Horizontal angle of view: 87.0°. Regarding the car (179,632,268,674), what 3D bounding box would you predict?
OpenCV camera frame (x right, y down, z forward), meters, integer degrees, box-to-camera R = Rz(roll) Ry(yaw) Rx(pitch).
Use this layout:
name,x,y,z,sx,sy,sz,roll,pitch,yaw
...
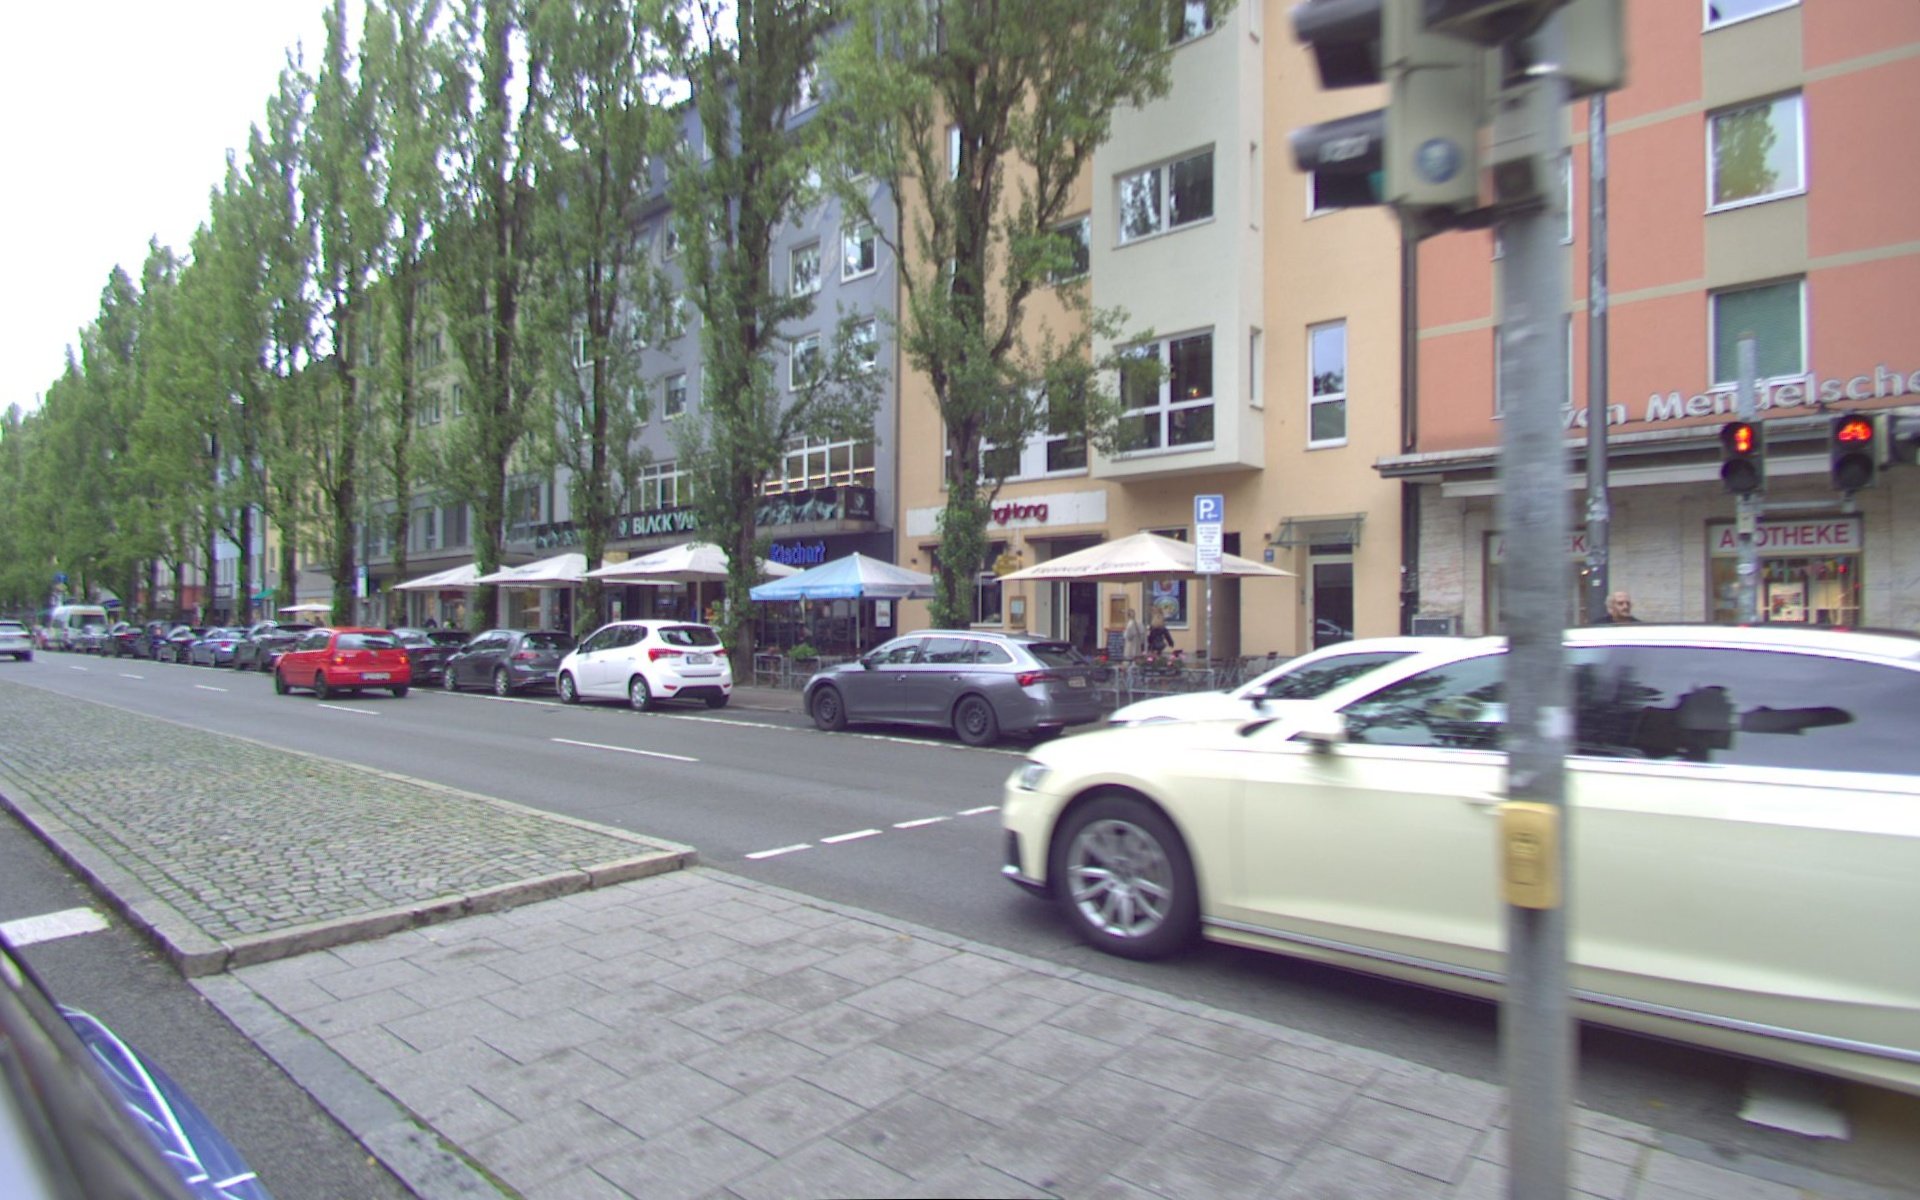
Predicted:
name,x,y,z,sx,sy,sz,roll,pitch,yaw
car,-26.977,1.899,37.040,4.398,1.428,1.640,-1,-3,41

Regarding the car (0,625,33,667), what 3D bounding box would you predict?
name,x,y,z,sx,sy,sz,roll,pitch,yaw
car,-39.567,1.879,41.477,4.573,1.648,1.824,-2,-3,41

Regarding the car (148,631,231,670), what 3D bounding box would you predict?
name,x,y,z,sx,sy,sz,roll,pitch,yaw
car,-30.767,1.962,40.355,4.583,1.457,1.685,-1,-2,41

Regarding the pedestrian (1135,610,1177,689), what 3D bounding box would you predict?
name,x,y,z,sx,sy,sz,roll,pitch,yaw
pedestrian,4.192,1.051,21.625,0.691,1.651,0.549,-2,-2,40

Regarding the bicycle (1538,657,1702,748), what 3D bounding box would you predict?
name,x,y,z,sx,sy,sz,roll,pitch,yaw
bicycle,8.175,1.239,12.633,0.324,0.993,1.817,0,-2,-24

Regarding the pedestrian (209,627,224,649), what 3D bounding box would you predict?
name,x,y,z,sx,sy,sz,roll,pitch,yaw
pedestrian,-48.647,2.494,66.187,0.550,1.449,0.641,-1,-2,36

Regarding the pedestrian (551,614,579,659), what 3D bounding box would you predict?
name,x,y,z,sx,sy,sz,roll,pitch,yaw
pedestrian,-14.852,1.363,38.064,0.756,1.653,0.732,-2,-2,42

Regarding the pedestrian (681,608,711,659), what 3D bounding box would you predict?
name,x,y,z,sx,sy,sz,roll,pitch,yaw
pedestrian,-9.276,1.176,35.521,0.755,1.768,0.733,-2,-2,41

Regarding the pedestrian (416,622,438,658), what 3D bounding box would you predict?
name,x,y,z,sx,sy,sz,roll,pitch,yaw
pedestrian,-24.901,1.865,47.271,0.755,1.685,0.701,-2,-2,41

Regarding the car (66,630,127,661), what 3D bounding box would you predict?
name,x,y,z,sx,sy,sz,roll,pitch,yaw
car,-45.511,2.379,53.324,4.256,1.541,1.686,-1,-3,39

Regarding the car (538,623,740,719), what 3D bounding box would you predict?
name,x,y,z,sx,sy,sz,roll,pitch,yaw
car,-6.066,1.249,18.907,4.094,1.595,1.685,-1,-3,41

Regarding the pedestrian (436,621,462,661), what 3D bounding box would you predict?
name,x,y,z,sx,sy,sz,roll,pitch,yaw
pedestrian,-22.749,1.828,45.063,0.755,1.768,0.810,-2,-2,41

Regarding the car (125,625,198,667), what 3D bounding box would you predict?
name,x,y,z,sx,sy,sz,roll,pitch,yaw
car,-35.036,2.004,44.368,3.766,1.699,1.602,-1,-4,38

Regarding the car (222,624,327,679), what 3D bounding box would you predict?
name,x,y,z,sx,sy,sz,roll,pitch,yaw
car,-22.616,1.661,33.329,4.585,1.693,1.761,-1,-3,42

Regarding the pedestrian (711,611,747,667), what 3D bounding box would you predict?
name,x,y,z,sx,sy,sz,roll,pitch,yaw
pedestrian,-6.753,1.129,29.573,0.756,1.614,0.732,-2,-2,42

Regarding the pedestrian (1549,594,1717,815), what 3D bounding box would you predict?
name,x,y,z,sx,sy,sz,roll,pitch,yaw
pedestrian,5.926,0.862,8.942,0.725,1.809,0.995,-1,0,-31

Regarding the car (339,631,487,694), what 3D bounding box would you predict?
name,x,y,z,sx,sy,sz,roll,pitch,yaw
car,-13.917,1.525,25.646,4.429,1.423,1.686,-1,-3,39

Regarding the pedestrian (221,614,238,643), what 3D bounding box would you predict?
name,x,y,z,sx,sy,sz,roll,pitch,yaw
pedestrian,-46.539,1.816,64.466,0.723,1.779,0.723,-2,-2,39

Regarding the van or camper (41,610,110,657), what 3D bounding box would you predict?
name,x,y,z,sx,sy,sz,roll,pitch,yaw
van or camper,-50.630,1.893,57.873,6.640,2.570,2.103,-1,-2,41

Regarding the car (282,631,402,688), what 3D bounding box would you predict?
name,x,y,z,sx,sy,sz,roll,pitch,yaw
car,-17.760,1.664,29.006,4.367,1.477,1.659,-1,-3,41

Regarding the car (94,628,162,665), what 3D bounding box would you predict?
name,x,y,z,sx,sy,sz,roll,pitch,yaw
car,-39.089,2.149,47.503,4.500,1.645,1.685,-1,-3,41

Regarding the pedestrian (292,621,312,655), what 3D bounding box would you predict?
name,x,y,z,sx,sy,sz,roll,pitch,yaw
pedestrian,-36.147,2.074,55.598,0.715,1.808,0.740,-2,-2,41

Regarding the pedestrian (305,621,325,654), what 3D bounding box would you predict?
name,x,y,z,sx,sy,sz,roll,pitch,yaw
pedestrian,-35.754,2.069,56.078,0.715,1.808,0.740,-2,-2,41

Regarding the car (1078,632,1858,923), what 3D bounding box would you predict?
name,x,y,z,sx,sy,sz,roll,pitch,yaw
car,3.268,0.953,7.234,4.629,1.419,1.804,-1,-3,41

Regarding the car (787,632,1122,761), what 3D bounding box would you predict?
name,x,y,z,sx,sy,sz,roll,pitch,yaw
car,-0.200,1.201,13.903,4.585,1.449,1.686,-1,-3,39

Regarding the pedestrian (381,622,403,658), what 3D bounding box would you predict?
name,x,y,z,sx,sy,sz,roll,pitch,yaw
pedestrian,-26.513,1.850,47.239,0.711,1.663,0.714,-2,-2,41

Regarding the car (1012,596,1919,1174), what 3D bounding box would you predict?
name,x,y,z,sx,sy,sz,roll,pitch,yaw
car,2.710,0.784,3.711,4.982,1.513,1.825,-2,-3,41

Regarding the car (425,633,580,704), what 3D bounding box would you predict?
name,x,y,z,sx,sy,sz,roll,pitch,yaw
car,-10.194,1.461,22.411,4.184,1.392,1.478,-1,-3,41

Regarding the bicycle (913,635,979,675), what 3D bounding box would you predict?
name,x,y,z,sx,sy,sz,roll,pitch,yaw
bicycle,-0.386,1.445,26.690,1.956,1.010,0.437,-2,-2,42

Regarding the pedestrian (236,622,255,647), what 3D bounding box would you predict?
name,x,y,z,sx,sy,sz,roll,pitch,yaw
pedestrian,-40.554,1.954,57.454,0.550,1.449,0.760,-1,-2,36

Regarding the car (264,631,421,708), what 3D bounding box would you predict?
name,x,y,z,sx,sy,sz,roll,pitch,yaw
car,-13.075,1.399,21.351,3.821,1.448,1.718,-1,-2,41

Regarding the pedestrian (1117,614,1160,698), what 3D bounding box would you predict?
name,x,y,z,sx,sy,sz,roll,pitch,yaw
pedestrian,3.723,1.154,21.101,0.691,1.731,0.549,-2,-2,40
